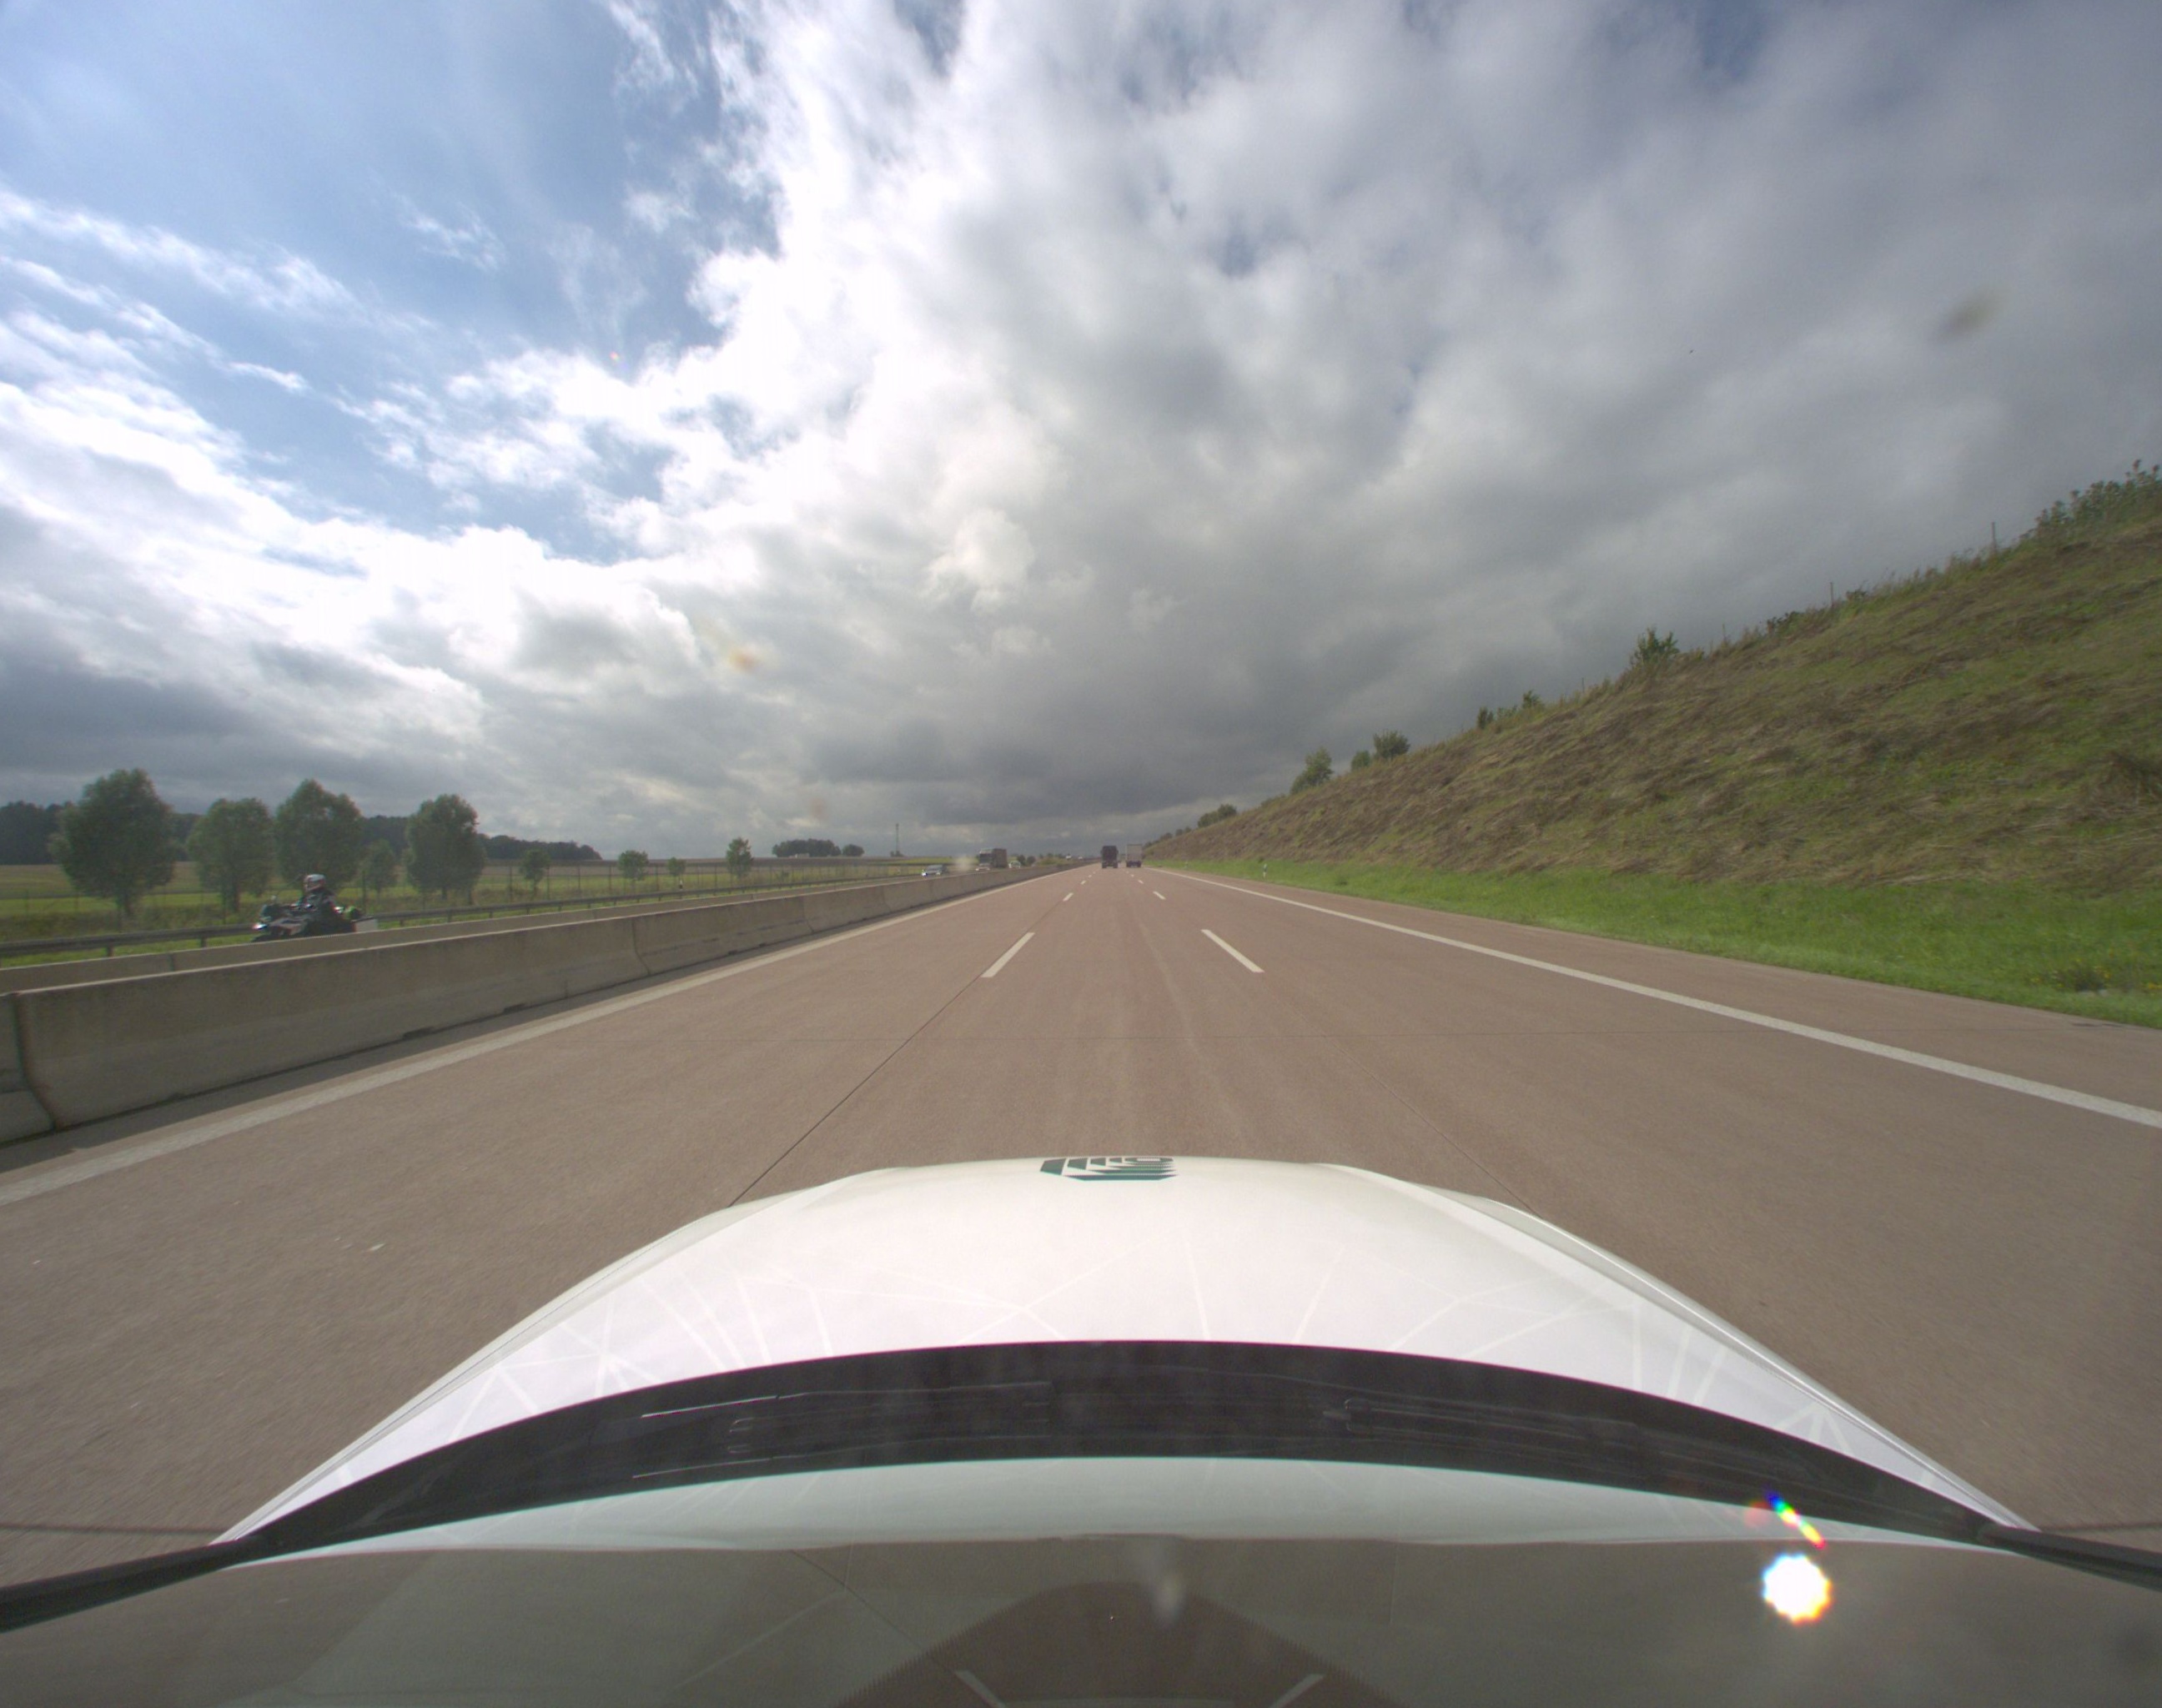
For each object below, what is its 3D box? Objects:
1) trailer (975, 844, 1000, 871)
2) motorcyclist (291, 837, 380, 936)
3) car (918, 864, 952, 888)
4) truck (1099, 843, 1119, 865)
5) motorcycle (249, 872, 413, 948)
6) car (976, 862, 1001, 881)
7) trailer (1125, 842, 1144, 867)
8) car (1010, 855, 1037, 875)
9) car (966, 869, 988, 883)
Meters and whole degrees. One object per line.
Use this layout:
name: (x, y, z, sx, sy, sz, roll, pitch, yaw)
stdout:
trailer: (-14.877, 0.537, 130.058, 2.996, 4.248, 7.012, 0, 0, 2)
motorcyclist: (-14.316, 0.610, 15.655, 1.005, 1.861, 0.744, 0, 0, 3)
car: (-12.856, 1.898, 72.015, 1.978, 2.014, 5.053, 0, -1, 2)
truck: (4.464, 0.050, 131.451, 2.838, 3.550, 8.318, -1, -1, 0)
motorcycle: (-14.298, 1.029, 15.654, 0.923, 1.303, 2.344, 0, 0, 2)
car: (-5.962, 1.108, 52.683, 1.218, 1.152, 2.758, 0, 0, 2)
trailer: (9.094, 0.119, 139.490, 2.739, 4.012, 8.669, -1, -1, 0)
car: (-4.955, 0.953, 70.865, 1.965, 1.662, 4.083, 0, 0, 2)
car: (-12.590, 2.682, 99.131, 1.966, 1.662, 4.491, 0, 0, 1)
